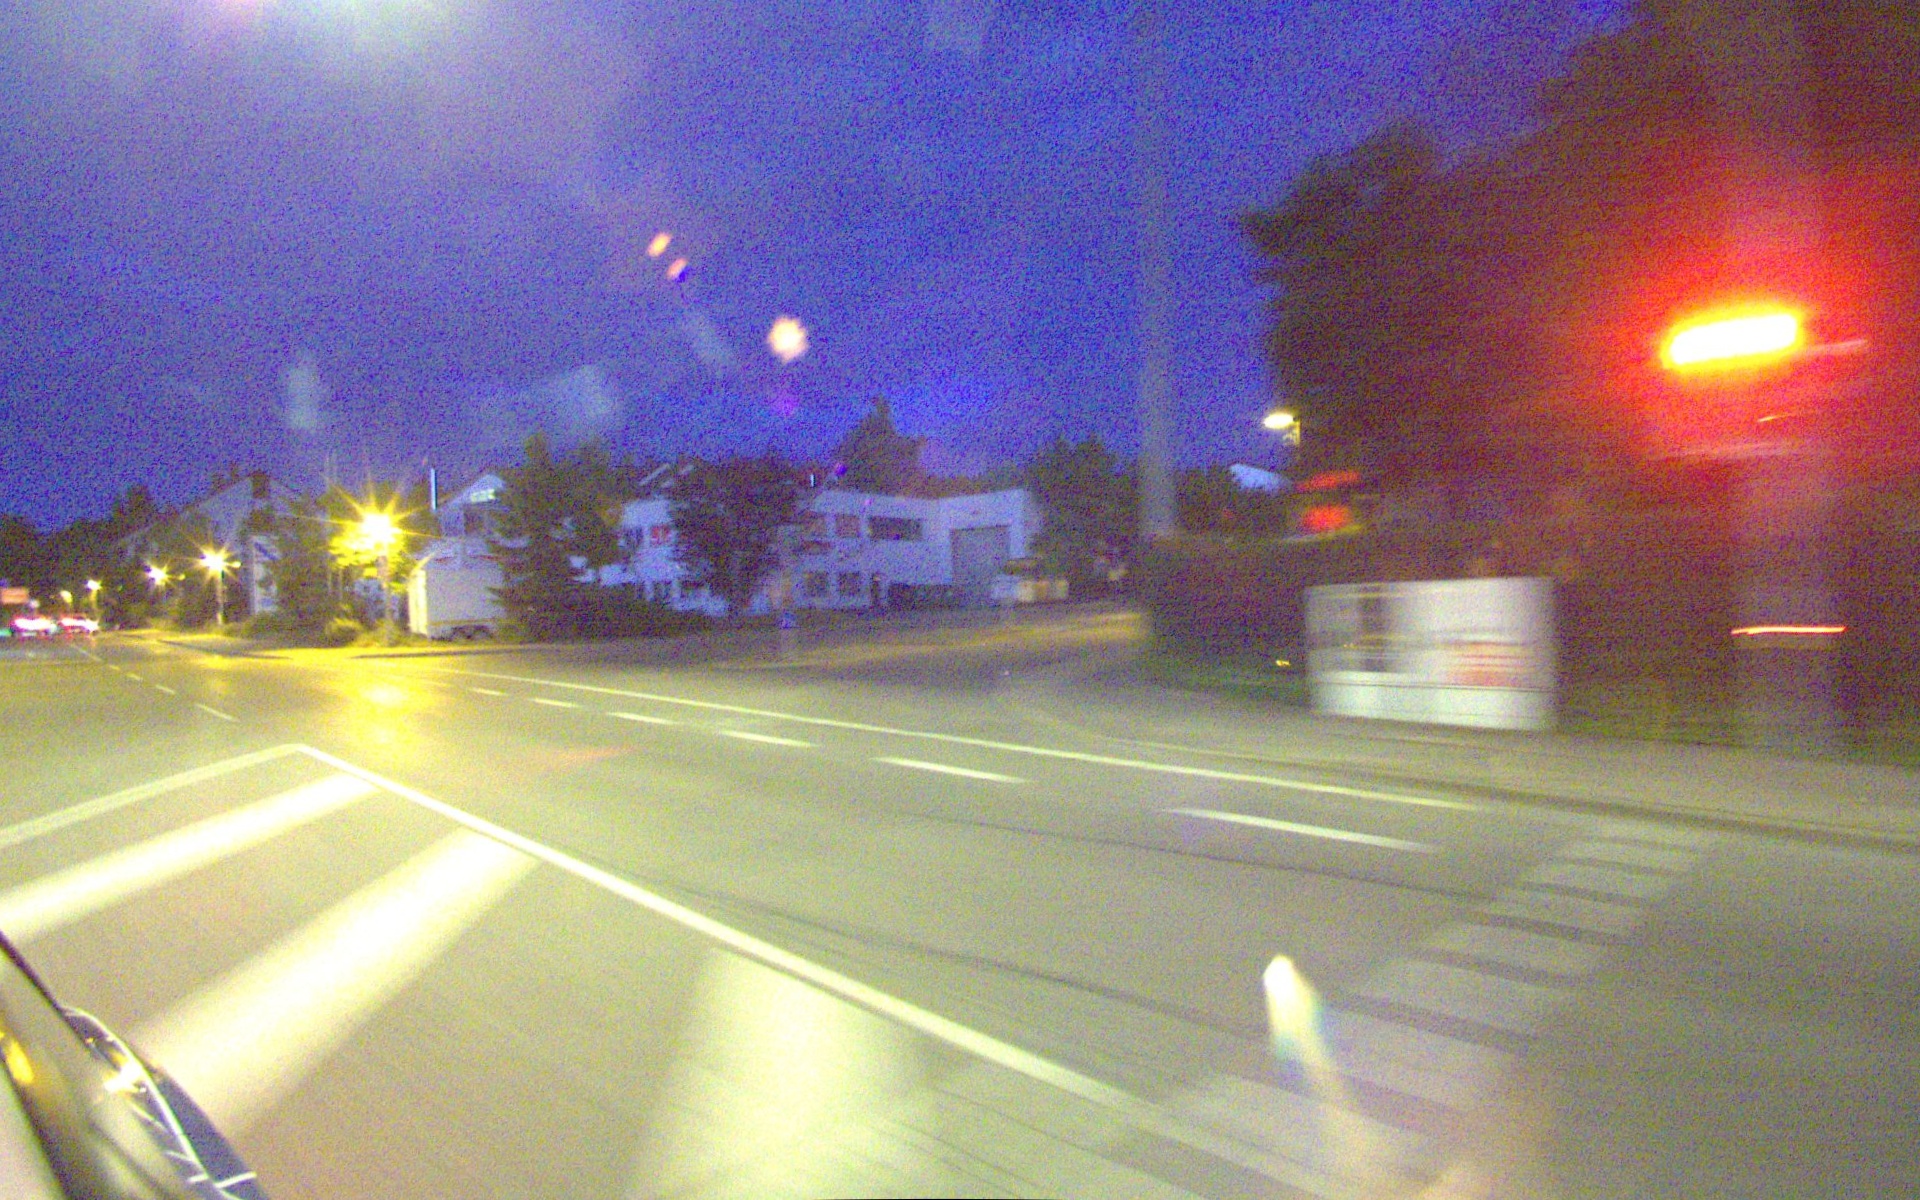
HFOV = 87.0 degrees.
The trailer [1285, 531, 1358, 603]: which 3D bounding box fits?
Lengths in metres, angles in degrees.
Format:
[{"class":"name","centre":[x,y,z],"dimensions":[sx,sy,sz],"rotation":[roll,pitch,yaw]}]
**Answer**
[{"class":"trailer","centre":[31.762,-2.684,88.534],"dimensions":[2.918,5.590,12.436],"rotation":[-2,-2,34]}]

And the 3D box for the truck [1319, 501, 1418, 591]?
[{"class":"truck","centre":[26.370,-3.238,64.540],"dimensions":[3.465,4.846,17.227],"rotation":[-2,0,30]}]

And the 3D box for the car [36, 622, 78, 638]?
[{"class":"car","centre":[-81.583,2.705,91.459],"dimensions":[4.590,1.390,1.975],"rotation":[-2,0,37]}]

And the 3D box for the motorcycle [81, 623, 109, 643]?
[{"class":"motorcycle","centre":[-58.349,2.212,68.248],"dimensions":[2.824,1.314,0.987],"rotation":[-1,0,40]}]

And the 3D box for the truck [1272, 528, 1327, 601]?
[{"class":"truck","centre":[27.744,-2.780,82.525],"dimensions":[2.930,5.625,5.203],"rotation":[-2,-2,33]}]

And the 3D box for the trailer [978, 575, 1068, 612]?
[{"class":"trailer","centre":[3.201,-0.362,50.591],"dimensions":[1.877,1.634,5.175],"rotation":[-2,1,38]}]

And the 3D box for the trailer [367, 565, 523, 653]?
[{"class":"trailer","centre":[-17.749,0.258,35.012],"dimensions":[4.299,2.740,2.001],"rotation":[-4,1,-45]}]

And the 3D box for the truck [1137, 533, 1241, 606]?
[{"class":"truck","centre":[13.608,-1.614,59.334],"dimensions":[2.865,3.755,9.497],"rotation":[-2,-2,32]}]

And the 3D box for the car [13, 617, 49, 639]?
[{"class":"car","centre":[-75.244,2.229,81.917],"dimensions":[1.971,1.639,4.755],"rotation":[-1,0,-44]}]

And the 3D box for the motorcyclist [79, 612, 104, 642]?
[{"class":"motorcyclist","centre":[-58.509,1.812,68.205],"dimensions":[0.833,1.914,1.122],"rotation":[-1,0,40]}]

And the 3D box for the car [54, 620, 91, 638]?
[{"class":"car","centre":[-76.616,2.524,87.322],"dimensions":[4.915,1.456,1.829],"rotation":[-2,0,42]}]
